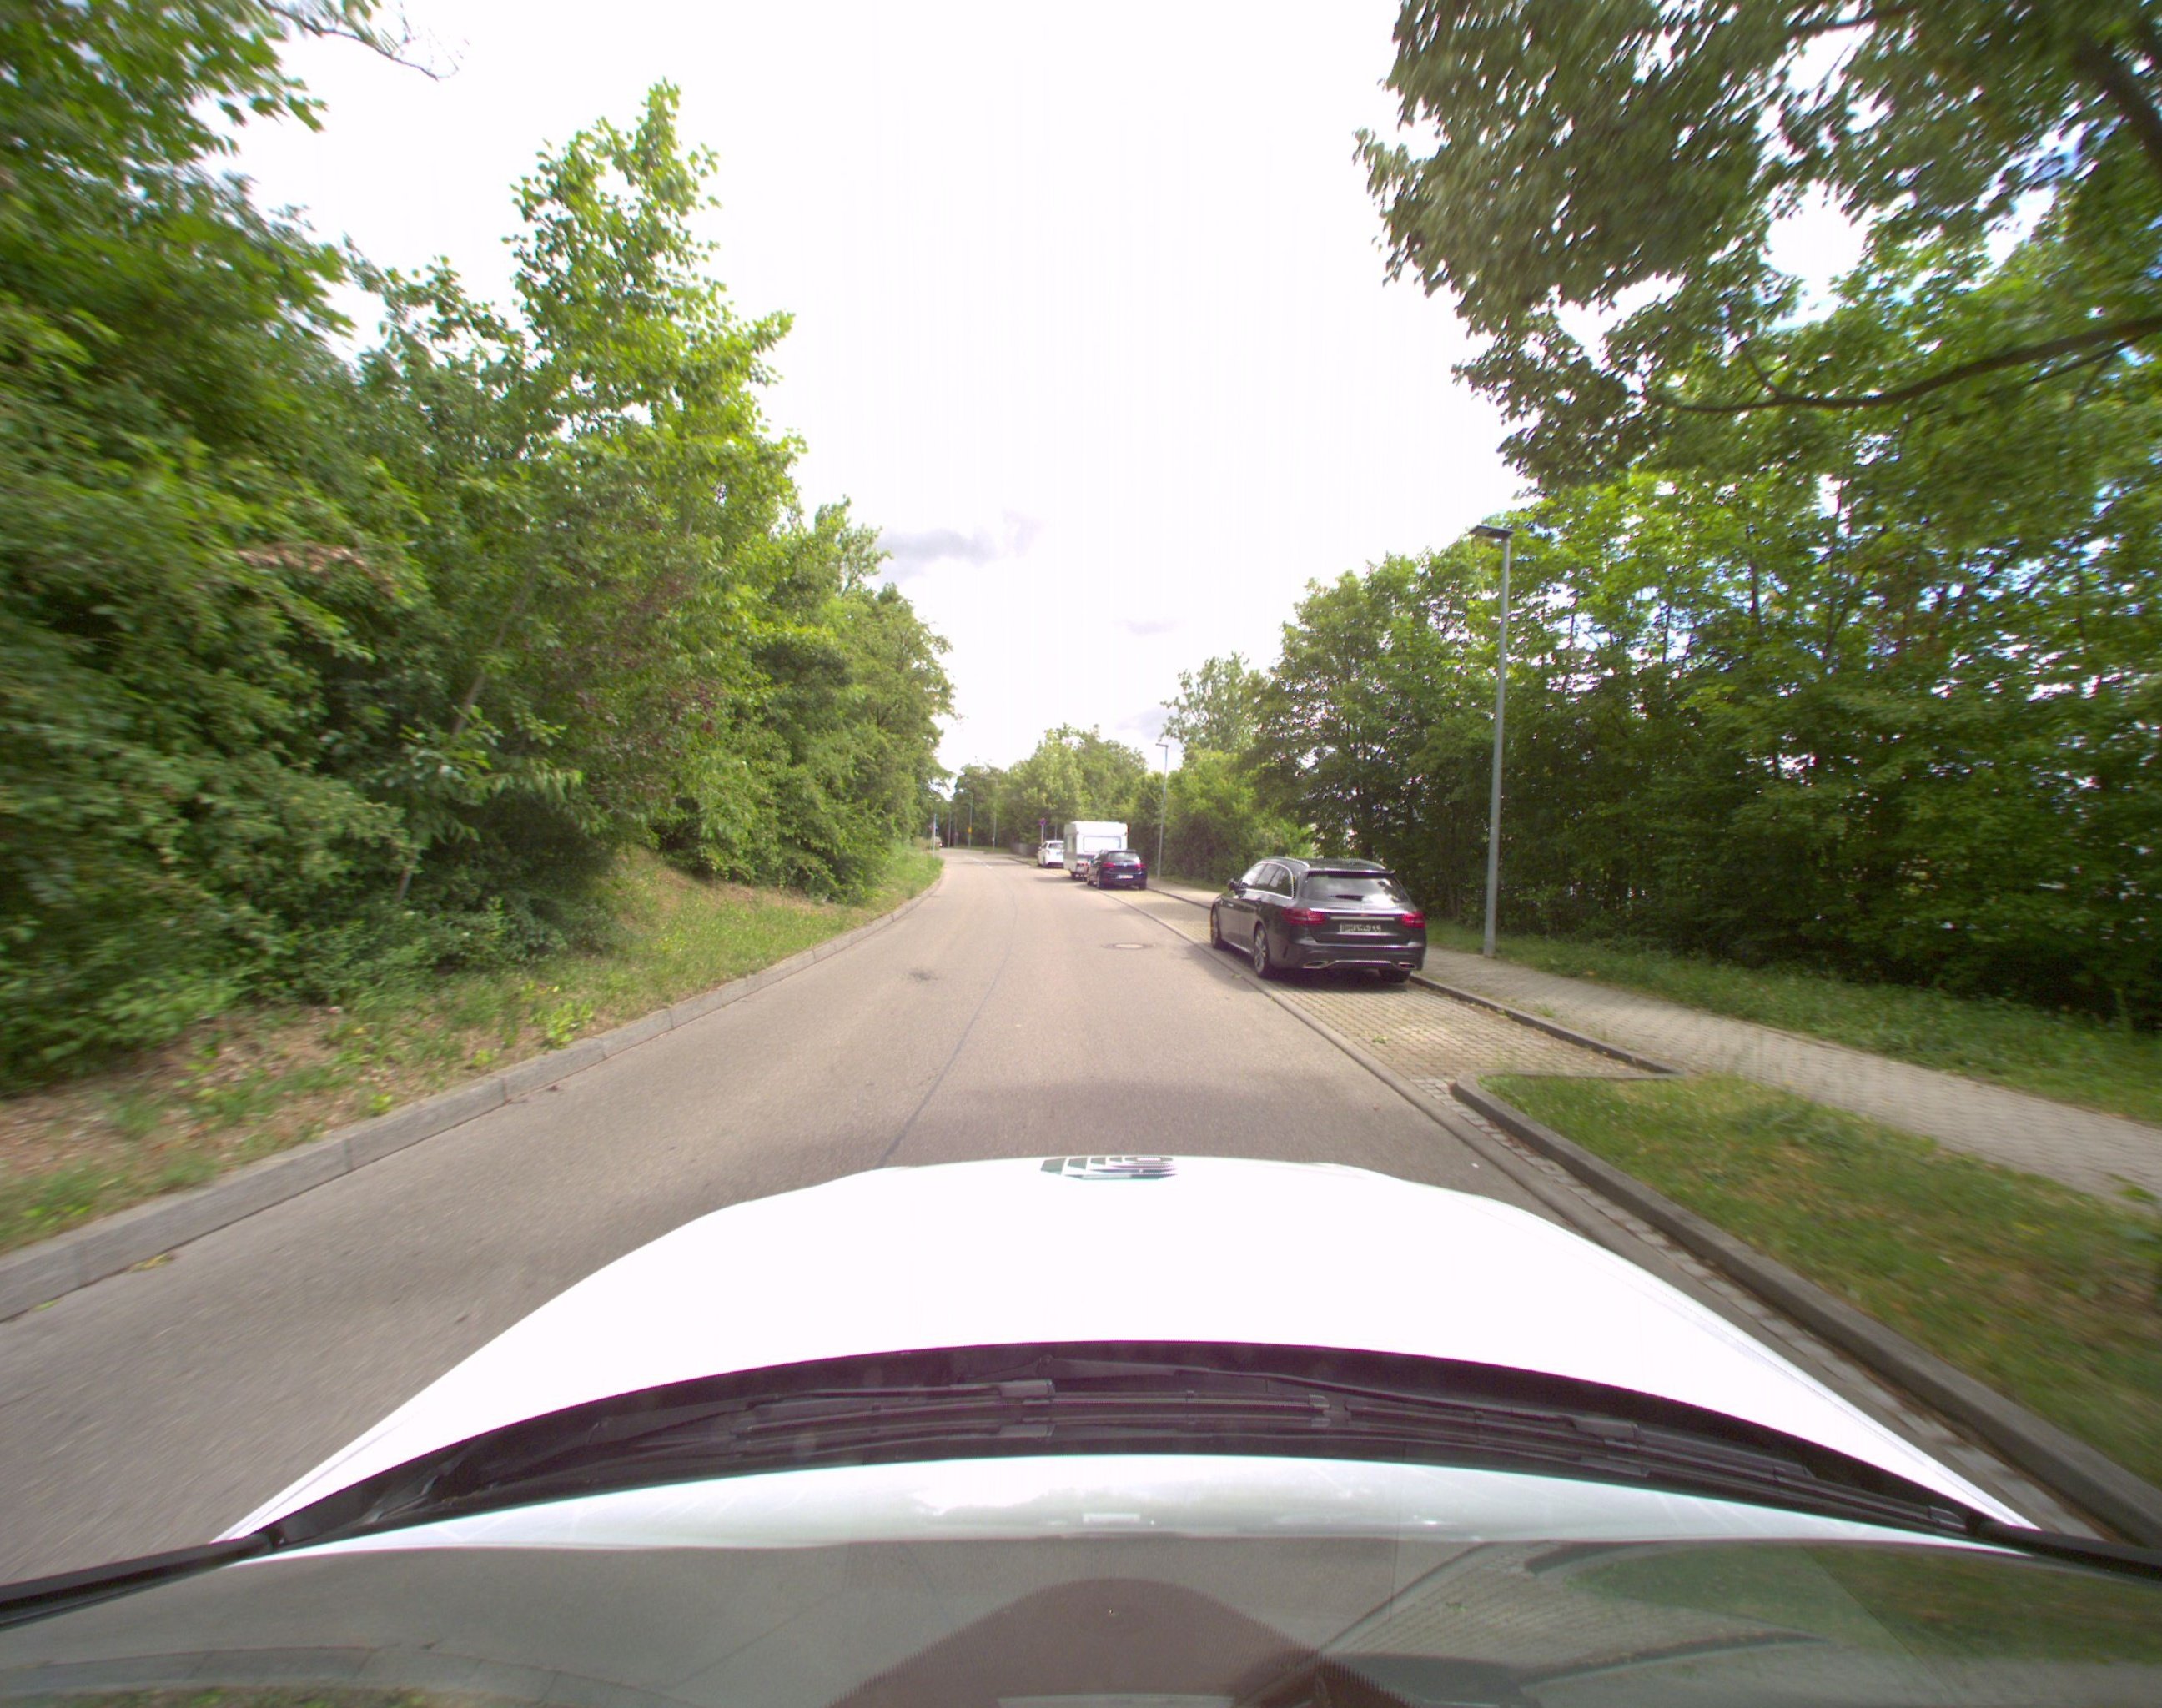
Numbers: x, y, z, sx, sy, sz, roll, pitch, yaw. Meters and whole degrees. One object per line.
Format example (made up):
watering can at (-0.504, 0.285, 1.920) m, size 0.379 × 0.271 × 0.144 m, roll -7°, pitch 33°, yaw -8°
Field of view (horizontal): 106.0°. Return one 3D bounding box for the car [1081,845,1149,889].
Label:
car at (1.184, 0.424, 30.534) m, size 1.681 × 1.451 × 4.467 m, roll 2°, pitch 1°, yaw -9°

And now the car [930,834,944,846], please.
car at (-22.437, -2.178, 126.711) m, size 1.845 × 1.658 × 4.202 m, roll 2°, pitch 1°, yaw -14°

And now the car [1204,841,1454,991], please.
car at (2.989, 0.631, 10.955) m, size 1.887 × 1.530 × 4.544 m, roll 2°, pitch 1°, yaw -1°

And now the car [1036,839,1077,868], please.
car at (-1.520, -0.080, 48.769) m, size 1.805 × 1.599 × 4.356 m, roll 1°, pitch 1°, yaw -11°

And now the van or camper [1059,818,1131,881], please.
van or camper at (0.534, -0.223, 36.097) m, size 2.354 × 2.553 × 5.059 m, roll 1°, pitch 1°, yaw -9°
